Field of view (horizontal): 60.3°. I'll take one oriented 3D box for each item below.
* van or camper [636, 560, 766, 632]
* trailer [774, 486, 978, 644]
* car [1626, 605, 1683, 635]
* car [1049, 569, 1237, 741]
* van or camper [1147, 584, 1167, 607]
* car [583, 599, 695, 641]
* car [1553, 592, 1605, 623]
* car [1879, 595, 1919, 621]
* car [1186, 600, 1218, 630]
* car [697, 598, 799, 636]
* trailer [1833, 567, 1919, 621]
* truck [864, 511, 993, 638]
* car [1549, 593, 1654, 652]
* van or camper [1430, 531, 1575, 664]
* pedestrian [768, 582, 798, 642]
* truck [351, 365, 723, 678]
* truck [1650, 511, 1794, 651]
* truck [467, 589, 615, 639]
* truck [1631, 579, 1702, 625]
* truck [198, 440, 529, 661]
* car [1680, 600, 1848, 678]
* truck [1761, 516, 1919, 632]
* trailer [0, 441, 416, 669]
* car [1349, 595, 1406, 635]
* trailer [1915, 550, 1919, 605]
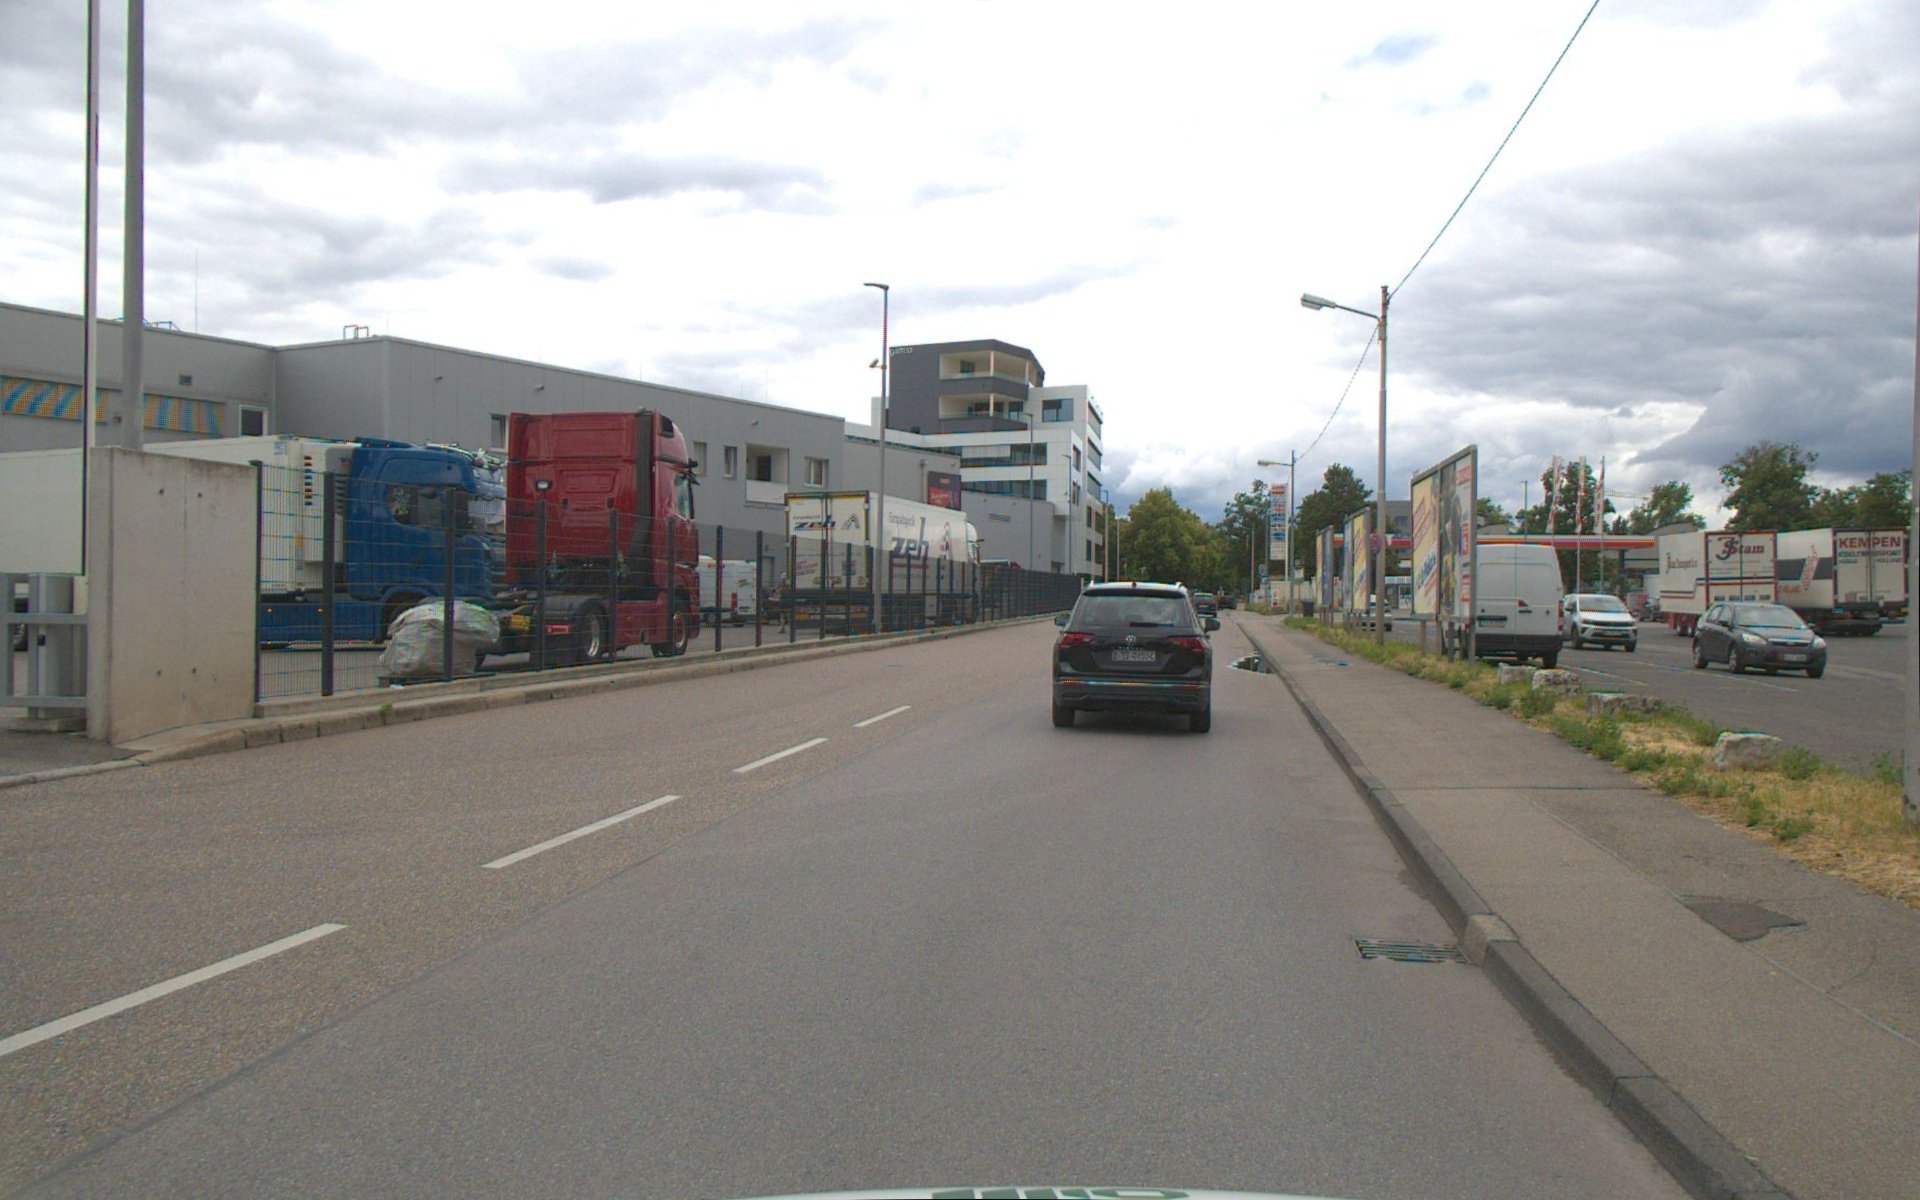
[{"bbox_3d":[-10.398,-0.142,66.437,4.876,2.811,2.101,0,-1,28],"label":"van or camper"},{"bbox_3d":[-2.357,-0.933,54.310,3.066,4.335,14.030,-4,-1,11],"label":"trailer"},{"bbox_3d":[40.207,1.149,95.833,1.951,1.736,4.191,0,0,7],"label":"car"},{"bbox_3d":[2.150,0.539,19.698,1.951,1.713,4.375,1,2,6],"label":"car"},{"bbox_3d":[20.010,-0.408,167.904,1.951,2.296,4.003,0,0,9],"label":"van or camper"},{"bbox_3d":[-12.471,0.775,64.279,3.911,1.579,1.997,0,-1,29],"label":"car"},{"bbox_3d":[35.989,0.426,96.202,1.951,1.736,4.003,0,0,7],"label":"car"},{"bbox_3d":[63.088,0.534,110.224,1.951,1.646,3.948,0,1,9],"label":"car"},{"bbox_3d":[15.140,0.947,103.617,1.951,1.780,4.003,0,1,8],"label":"car"},{"bbox_3d":[-9.062,0.718,70.700,3.911,1.579,1.997,0,-1,29],"label":"car"},{"bbox_3d":[66.113,-0.491,119.510,2.949,3.758,7.498,0,1,8],"label":"trailer"},{"bbox_3d":[-1.038,-0.835,60.726,3.061,4.189,6.947,-4,-1,12],"label":"truck"},{"bbox_3d":[18.878,0.648,48.866,1.849,1.640,4.431,1,-1,7],"label":"car"},{"bbox_3d":[11.918,-0.036,36.757,2.207,2.694,6.119,0,-1,10],"label":"van or camper"},{"bbox_3d":[-5.478,0.369,51.283,0.683,1.861,0.825,0,-1,13],"label":"pedestrian"},{"bbox_3d":[-6.119,-1.010,25.330,2.859,4.091,6.947,0,-1,10],"label":"truck"},{"bbox_3d":[30.056,-0.689,65.623,3.237,5.183,8.520,0,0,11],"label":"truck"},{"bbox_3d":[-14.604,0.476,57.595,4.820,1.681,2.224,0,-1,29],"label":"truck"},{"bbox_3d":[51.407,0.097,120.565,3.107,3.200,7.515,0,1,10],"label":"truck"},{"bbox_3d":[-11.569,-0.908,32.579,5.488,4.091,2.928,1,-1,-6],"label":"truck"},{"bbox_3d":[17.114,0.801,35.456,1.849,1.470,4.432,2,0,7],"label":"car"},{"bbox_3d":[34.062,-0.936,64.221,3.237,4.218,8.520,0,0,11],"label":"truck"},{"bbox_3d":[-18.050,-0.868,34.812,13.685,4.257,3.036,0,-1,21],"label":"trailer"},{"bbox_3d":[17.005,0.616,67.548,1.849,1.470,4.432,2,0,9],"label":"car"},{"bbox_3d":[73.808,-1.636,119.512,2.808,4.223,14.937,0,1,8],"label":"trailer"}]
